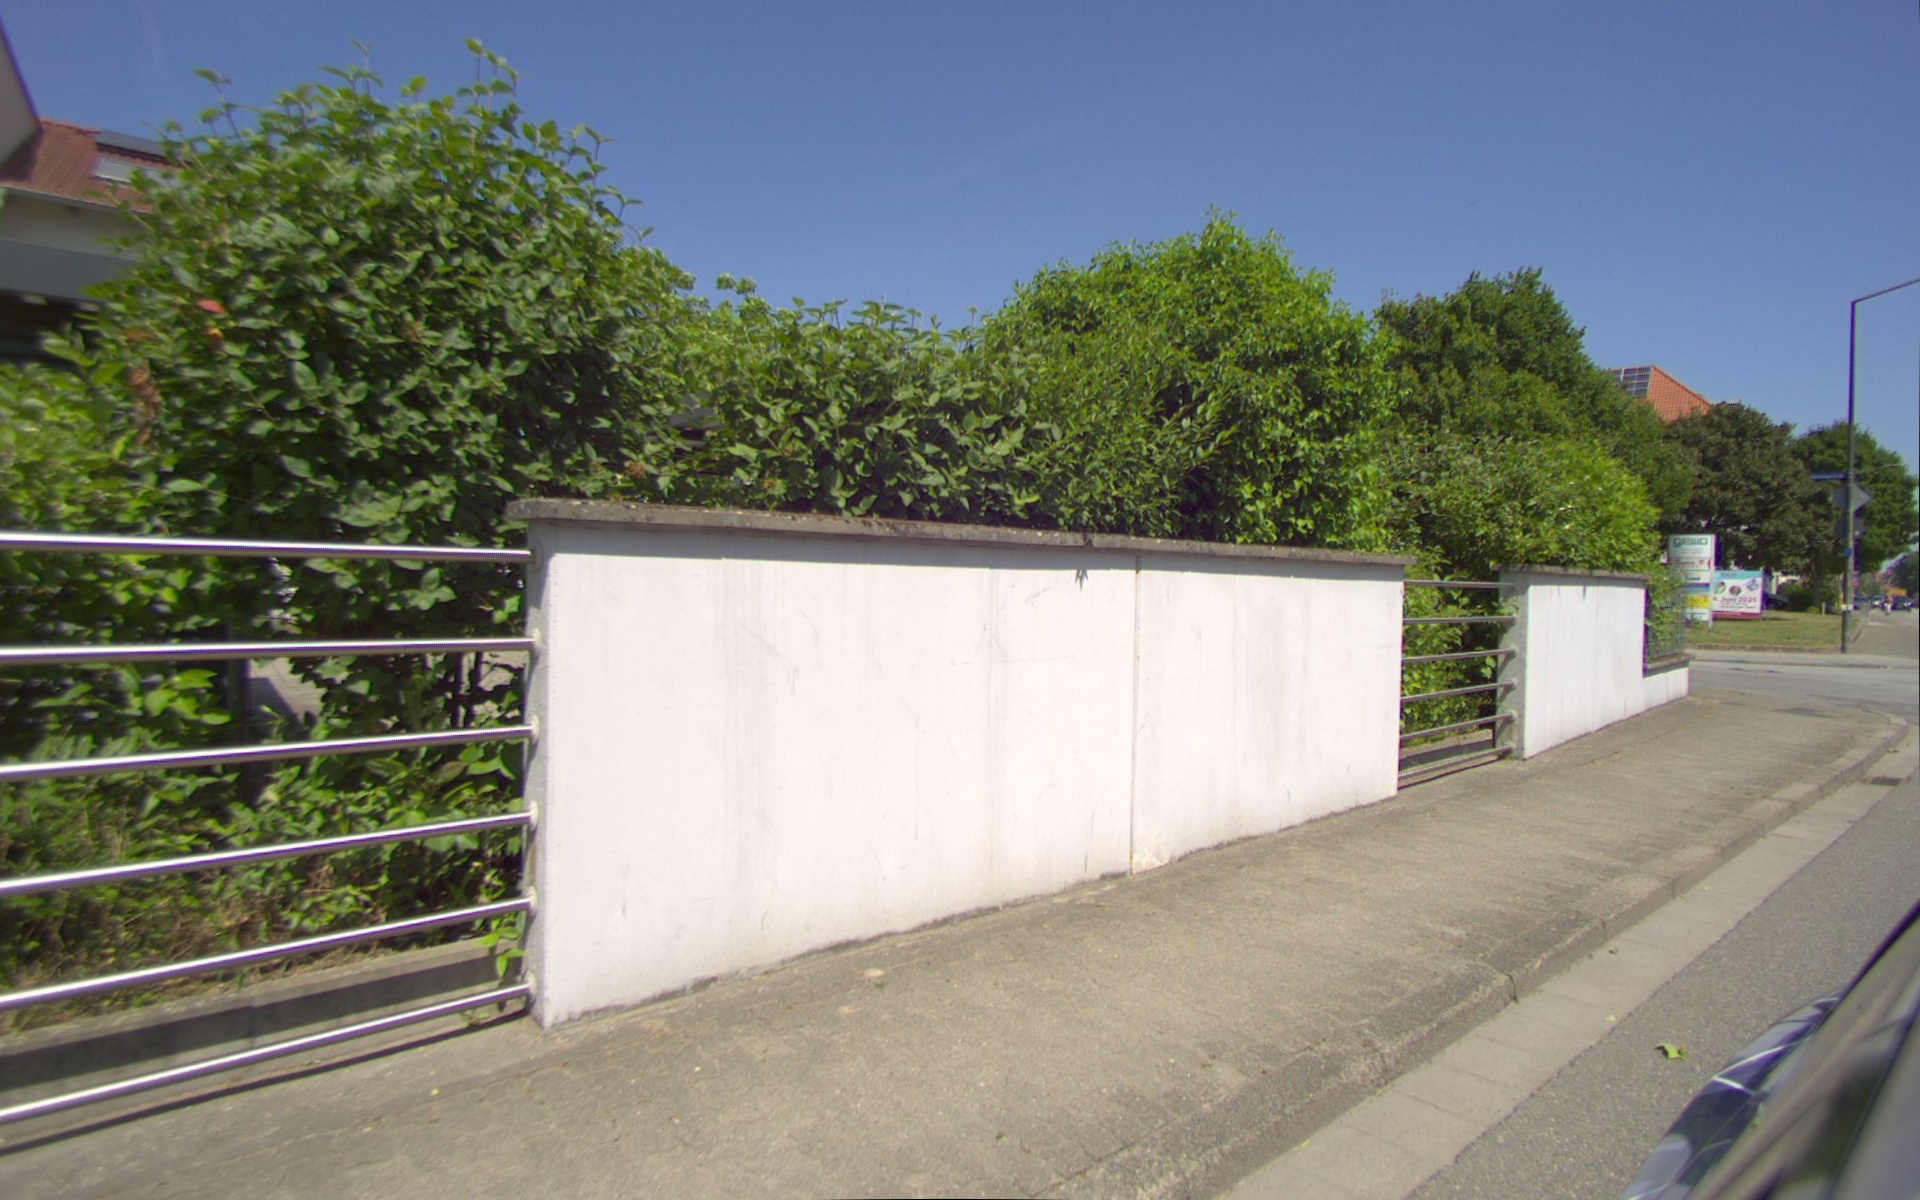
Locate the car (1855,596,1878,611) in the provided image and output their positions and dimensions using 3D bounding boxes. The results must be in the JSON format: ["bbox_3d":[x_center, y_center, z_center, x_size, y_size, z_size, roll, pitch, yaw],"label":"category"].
[{"bbox_3d":[89.889,0.371,100.400,1.601,1.429,3.851,0,0,41],"label":"car"}]

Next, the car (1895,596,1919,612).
[{"bbox_3d":[92.021,0.387,98.125,1.703,1.476,3.515,2,1,38],"label":"car"}]

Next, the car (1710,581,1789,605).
[{"bbox_3d":[56.751,-0.508,72.800,4.350,1.453,1.972,4,3,39],"label":"car"}]

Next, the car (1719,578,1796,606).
[{"bbox_3d":[58.821,-0.604,74.690,4.350,1.808,1.972,4,3,39],"label":"car"}]

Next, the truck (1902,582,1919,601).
[{"bbox_3d":[156.395,-1.406,166.189,2.214,2.974,5.274,2,1,40],"label":"truck"}]

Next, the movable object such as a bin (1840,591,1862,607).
[{"bbox_3d":[83.671,-0.119,95.022,1.494,1.499,1.402,2,1,40],"label":"movable object such as a bin"}]
